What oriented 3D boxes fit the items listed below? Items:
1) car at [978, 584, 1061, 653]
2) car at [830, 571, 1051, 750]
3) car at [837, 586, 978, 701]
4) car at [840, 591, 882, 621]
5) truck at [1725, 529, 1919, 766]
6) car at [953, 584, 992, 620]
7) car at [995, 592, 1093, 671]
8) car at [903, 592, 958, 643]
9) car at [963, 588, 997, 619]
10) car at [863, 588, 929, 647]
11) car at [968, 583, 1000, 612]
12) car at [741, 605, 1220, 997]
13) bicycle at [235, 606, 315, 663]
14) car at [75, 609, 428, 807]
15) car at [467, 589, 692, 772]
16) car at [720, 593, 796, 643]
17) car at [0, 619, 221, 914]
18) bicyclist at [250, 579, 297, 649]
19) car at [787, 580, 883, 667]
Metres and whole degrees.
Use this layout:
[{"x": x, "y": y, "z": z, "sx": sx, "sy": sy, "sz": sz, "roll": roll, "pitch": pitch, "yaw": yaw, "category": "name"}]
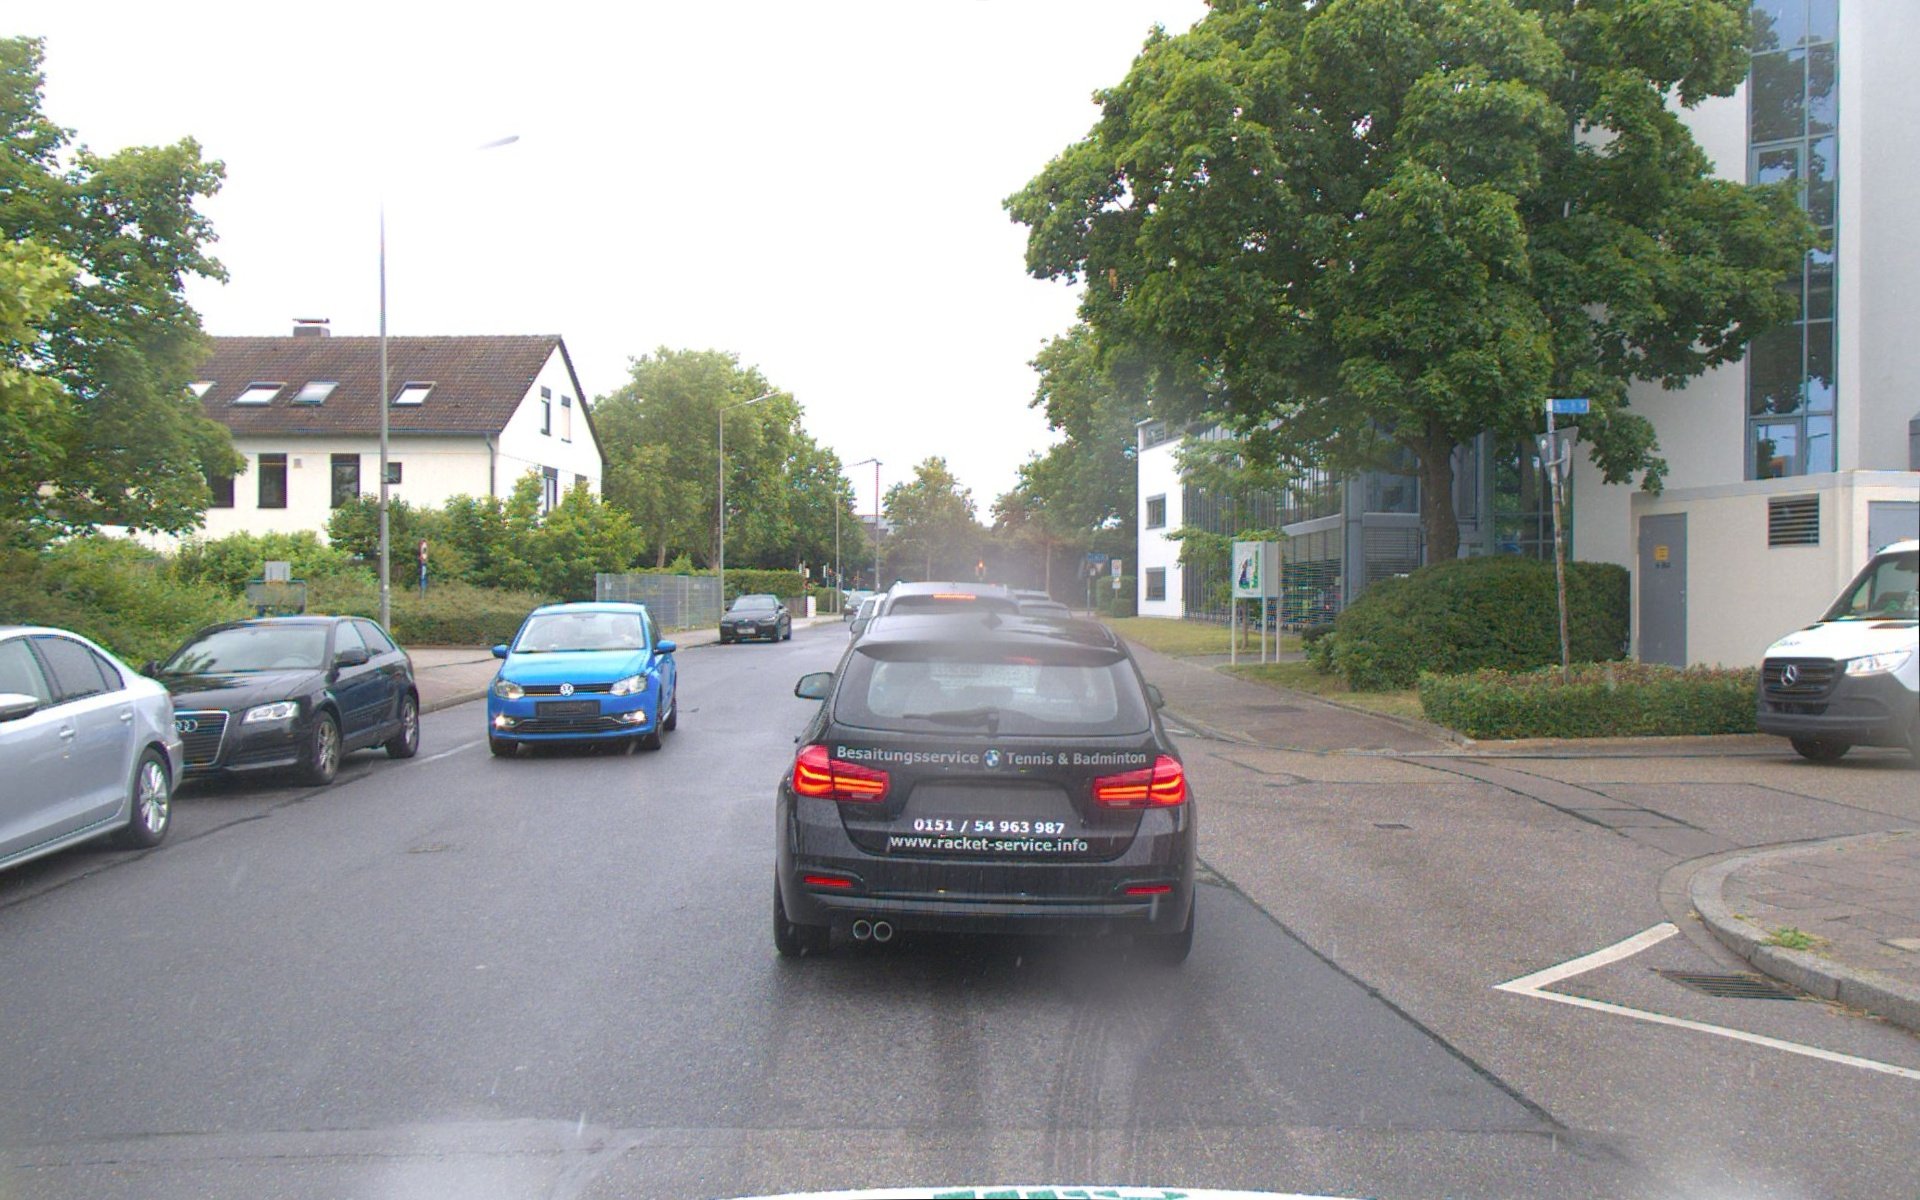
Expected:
[{"x": 1.448, "y": 0.456, "z": 41.498, "sx": 1.768, "sy": 1.614, "sz": 3.998, "roll": 1, "pitch": 0, "yaw": -2, "category": "car"}, {"x": -0.323, "y": 0.565, "z": 17.101, "sx": 1.770, "sy": 1.614, "sz": 3.992, "roll": 1, "pitch": 0, "yaw": -8, "category": "car"}, {"x": -0.888, "y": 0.633, "z": 25.541, "sx": 1.770, "sy": 1.614, "sz": 3.993, "roll": 1, "pitch": 0, "yaw": -7, "category": "car"}, {"x": -4.996, "y": 0.282, "z": 83.613, "sx": 1.670, "sy": 1.391, "sz": 3.839, "roll": -2, "pitch": 1, "yaw": 3, "category": "car"}, {"x": 11.460, "y": 0.425, "z": 16.674, "sx": 6.793, "sy": 2.177, "sz": 2.091, "roll": 0, "pitch": 0, "yaw": -8, "category": "truck"}, {"x": 0.572, "y": 0.083, "z": 77.298, "sx": 1.767, "sy": 1.614, "sz": 4.000, "roll": 0, "pitch": 0, "yaw": 0, "category": "car"}, {"x": 1.775, "y": 0.660, "z": 36.142, "sx": 1.768, "sy": 1.614, "sz": 3.998, "roll": 1, "pitch": 0, "yaw": -2, "category": "car"}, {"x": -0.956, "y": 0.571, "z": 55.510, "sx": 1.767, "sy": 1.614, "sz": 4.000, "roll": 1, "pitch": 0, "yaw": 0, "category": "car"}, {"x": 1.059, "y": 0.185, "z": 88.317, "sx": 1.767, "sy": 1.614, "sz": 4.000, "roll": 0, "pitch": 0, "yaw": 0, "category": "car"}, {"x": -1.845, "y": 0.499, "z": 48.469, "sx": 1.767, "sy": 1.614, "sz": 4.000, "roll": 1, "pitch": 0, "yaw": 0, "category": "car"}, {"x": 1.368, "y": -0.170, "z": 95.184, "sx": 1.767, "sy": 1.614, "sz": 4.000, "roll": 0, "pitch": 0, "yaw": 0, "category": "car"}, {"x": -0.133, "y": 0.744, "z": 8.083, "sx": 1.770, "sy": 1.419, "sz": 3.994, "roll": 1, "pitch": 0, "yaw": -7, "category": "car"}, {"x": -15.368, "y": 0.759, "z": 37.121, "sx": 1.637, "sy": 1.234, "sz": 0.492, "roll": 0, "pitch": 0, "yaw": -29, "category": "bicycle"}, {"x": -6.069, "y": 0.838, "z": 14.660, "sx": 1.672, "sy": 1.391, "sz": 3.834, "roll": -2, "pitch": 1, "yaw": -4, "category": "car"}, {"x": -3.837, "y": 0.732, "z": 17.281, "sx": 1.672, "sy": 1.622, "sz": 3.834, "roll": -2, "pitch": 1, "yaw": -4, "category": "car"}, {"x": -6.277, "y": 0.532, "z": 51.685, "sx": 1.670, "sy": 1.391, "sz": 3.839, "roll": -2, "pitch": 1, "yaw": 3, "category": "car"}, {"x": -5.659, "y": 0.879, "z": 8.882, "sx": 1.673, "sy": 1.391, "sz": 4.595, "roll": -2, "pitch": 1, "yaw": -6, "category": "car"}, {"x": -15.405, "y": 0.308, "z": 37.102, "sx": 0.928, "sy": 1.543, "sz": 0.608, "roll": 0, "pitch": 0, "yaw": -29, "category": "bicyclist"}, {"x": -2.452, "y": 0.455, "z": 33.262, "sx": 1.768, "sy": 1.614, "sz": 3.998, "roll": 1, "pitch": 0, "yaw": -2, "category": "car"}]
